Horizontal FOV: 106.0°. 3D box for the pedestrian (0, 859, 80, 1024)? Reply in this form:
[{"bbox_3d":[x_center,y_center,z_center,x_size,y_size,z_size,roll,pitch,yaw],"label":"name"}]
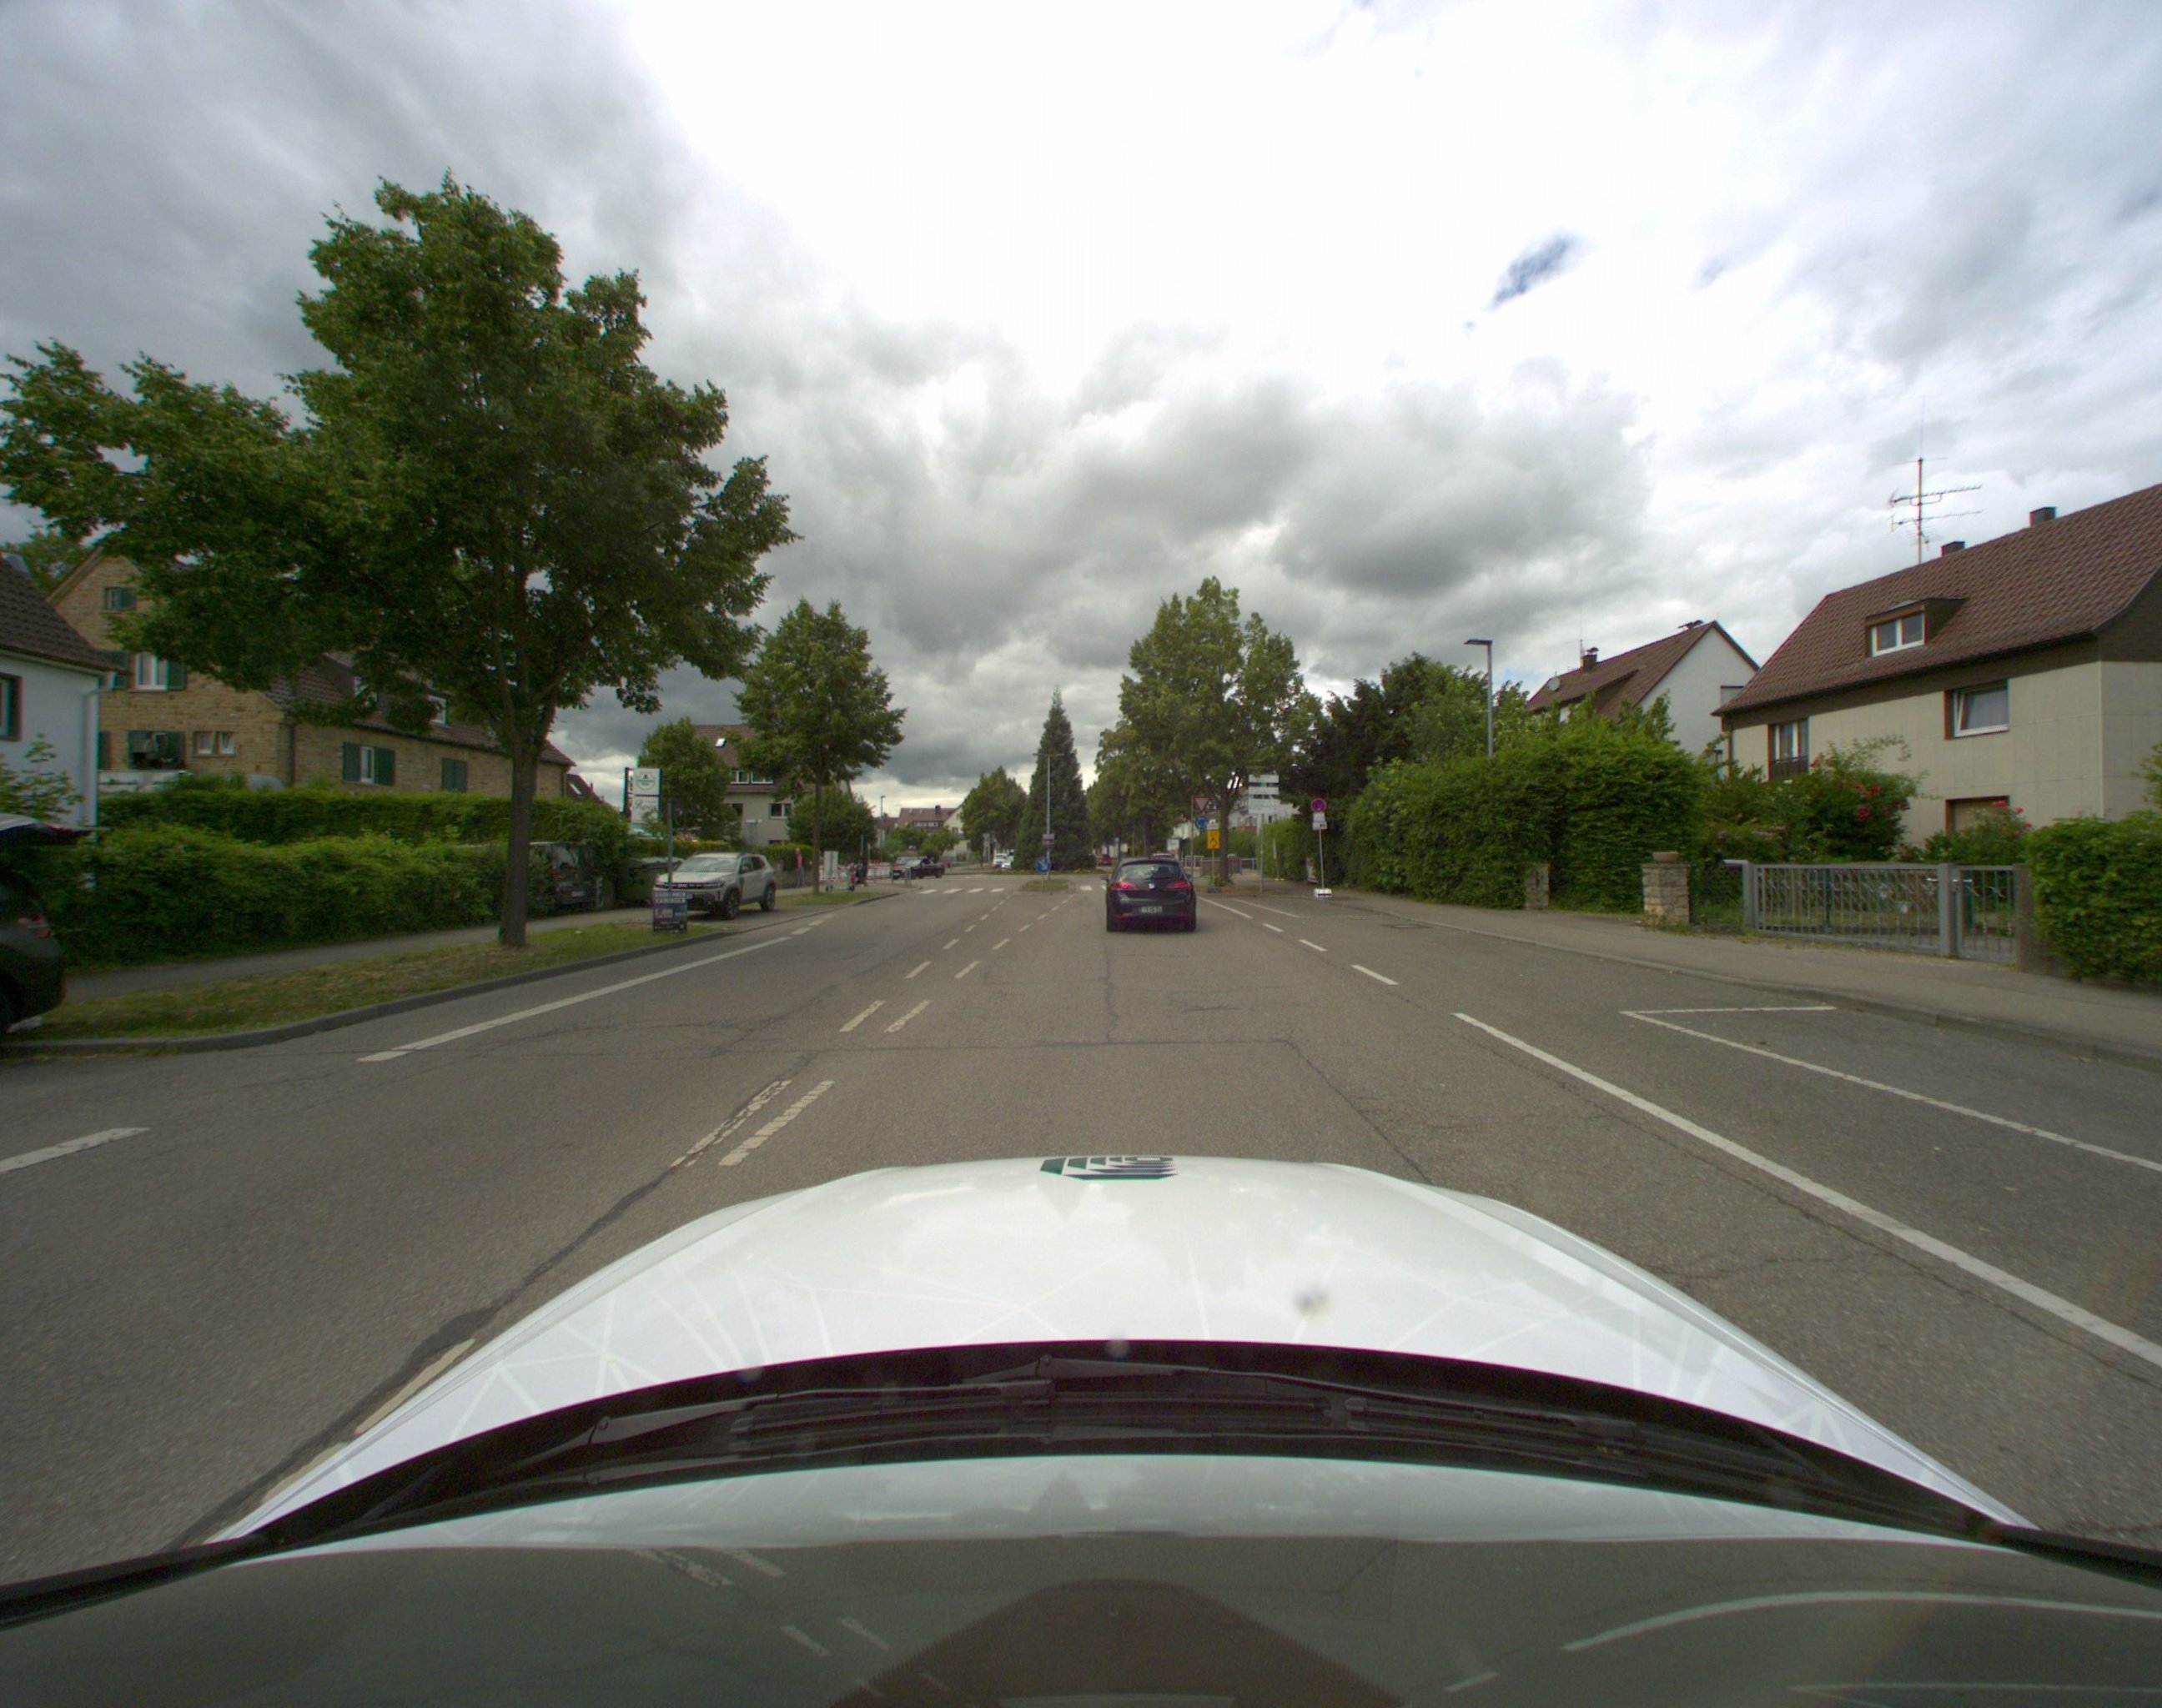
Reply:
[{"bbox_3d":[-9.539,0.766,7.390,0.547,1.436,0.499,-1,0,32],"label":"pedestrian"}]

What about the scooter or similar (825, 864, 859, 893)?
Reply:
[{"bbox_3d":[-9.901,1.006,33.678,1.292,1.139,0.344,-1,0,-31],"label":"scooter or similar"}]

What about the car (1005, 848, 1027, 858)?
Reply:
[{"bbox_3d":[-13.101,-0.147,164.028,3.954,1.970,2.046,-1,0,19],"label":"car"}]

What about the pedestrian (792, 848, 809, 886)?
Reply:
[{"bbox_3d":[-13.319,0.622,38.659,0.565,1.784,0.534,0,0,-40],"label":"pedestrian"}]

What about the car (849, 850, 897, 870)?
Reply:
[{"bbox_3d":[-17.739,0.509,69.557,3.572,1.611,1.602,-1,0,3],"label":"car"}]

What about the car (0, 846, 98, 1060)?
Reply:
[{"bbox_3d":[-9.509,0.797,4.899,1.720,1.725,4.561,0,0,-2],"label":"car"}]

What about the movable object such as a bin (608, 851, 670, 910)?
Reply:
[{"bbox_3d":[-12.910,0.751,23.828,1.202,1.651,0.997,2,-1,-2],"label":"movable object such as a bin"}]

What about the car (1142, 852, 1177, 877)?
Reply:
[{"bbox_3d":[5.227,0.685,54.520,1.987,1.613,4.000,0,0,0],"label":"car"}]

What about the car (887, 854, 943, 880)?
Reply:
[{"bbox_3d":[-11.101,0.858,54.758,1.553,1.634,3.645,-1,0,33],"label":"car"}]

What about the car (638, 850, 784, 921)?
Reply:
[{"bbox_3d":[-9.439,0.732,21.210,1.855,1.653,4.293,0,0,-1],"label":"car"}]

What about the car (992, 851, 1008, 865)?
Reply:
[{"bbox_3d":[-11.556,0.598,116.805,2.025,1.970,3.997,-1,0,-2],"label":"car"}]

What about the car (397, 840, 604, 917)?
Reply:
[{"bbox_3d":[-15.162,0.618,21.448,3.974,1.891,2.000,-1,0,0],"label":"car"}]

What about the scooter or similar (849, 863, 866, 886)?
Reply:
[{"bbox_3d":[-10.907,1.000,39.772,0.409,1.095,0.959,2,-1,-38],"label":"scooter or similar"}]

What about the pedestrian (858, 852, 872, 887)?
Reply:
[{"bbox_3d":[-10.398,0.731,39.185,0.485,1.669,0.510,0,0,-33],"label":"pedestrian"}]

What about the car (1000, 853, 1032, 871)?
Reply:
[{"bbox_3d":[-5.916,0.680,74.843,1.857,1.560,4.272,-1,0,10],"label":"car"}]

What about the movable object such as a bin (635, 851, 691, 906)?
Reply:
[{"bbox_3d":[-13.080,0.756,25.508,1.202,1.651,0.997,2,-1,-2],"label":"movable object such as a bin"}]

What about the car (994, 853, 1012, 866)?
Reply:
[{"bbox_3d":[-9.463,0.649,98.811,1.792,1.601,3.999,-1,0,0],"label":"car"}]

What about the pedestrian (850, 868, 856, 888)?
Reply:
[{"bbox_3d":[-10.568,1.105,37.777,0.239,0.894,0.257,0,0,-28],"label":"pedestrian"}]

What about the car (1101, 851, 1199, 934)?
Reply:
[{"bbox_3d":[1.311,0.710,16.973,1.726,1.486,4.000,-1,0,0],"label":"car"}]

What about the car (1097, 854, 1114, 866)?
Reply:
[{"bbox_3d":[3.034,0.705,100.310,1.475,1.489,3.370,-1,0,-9],"label":"car"}]
